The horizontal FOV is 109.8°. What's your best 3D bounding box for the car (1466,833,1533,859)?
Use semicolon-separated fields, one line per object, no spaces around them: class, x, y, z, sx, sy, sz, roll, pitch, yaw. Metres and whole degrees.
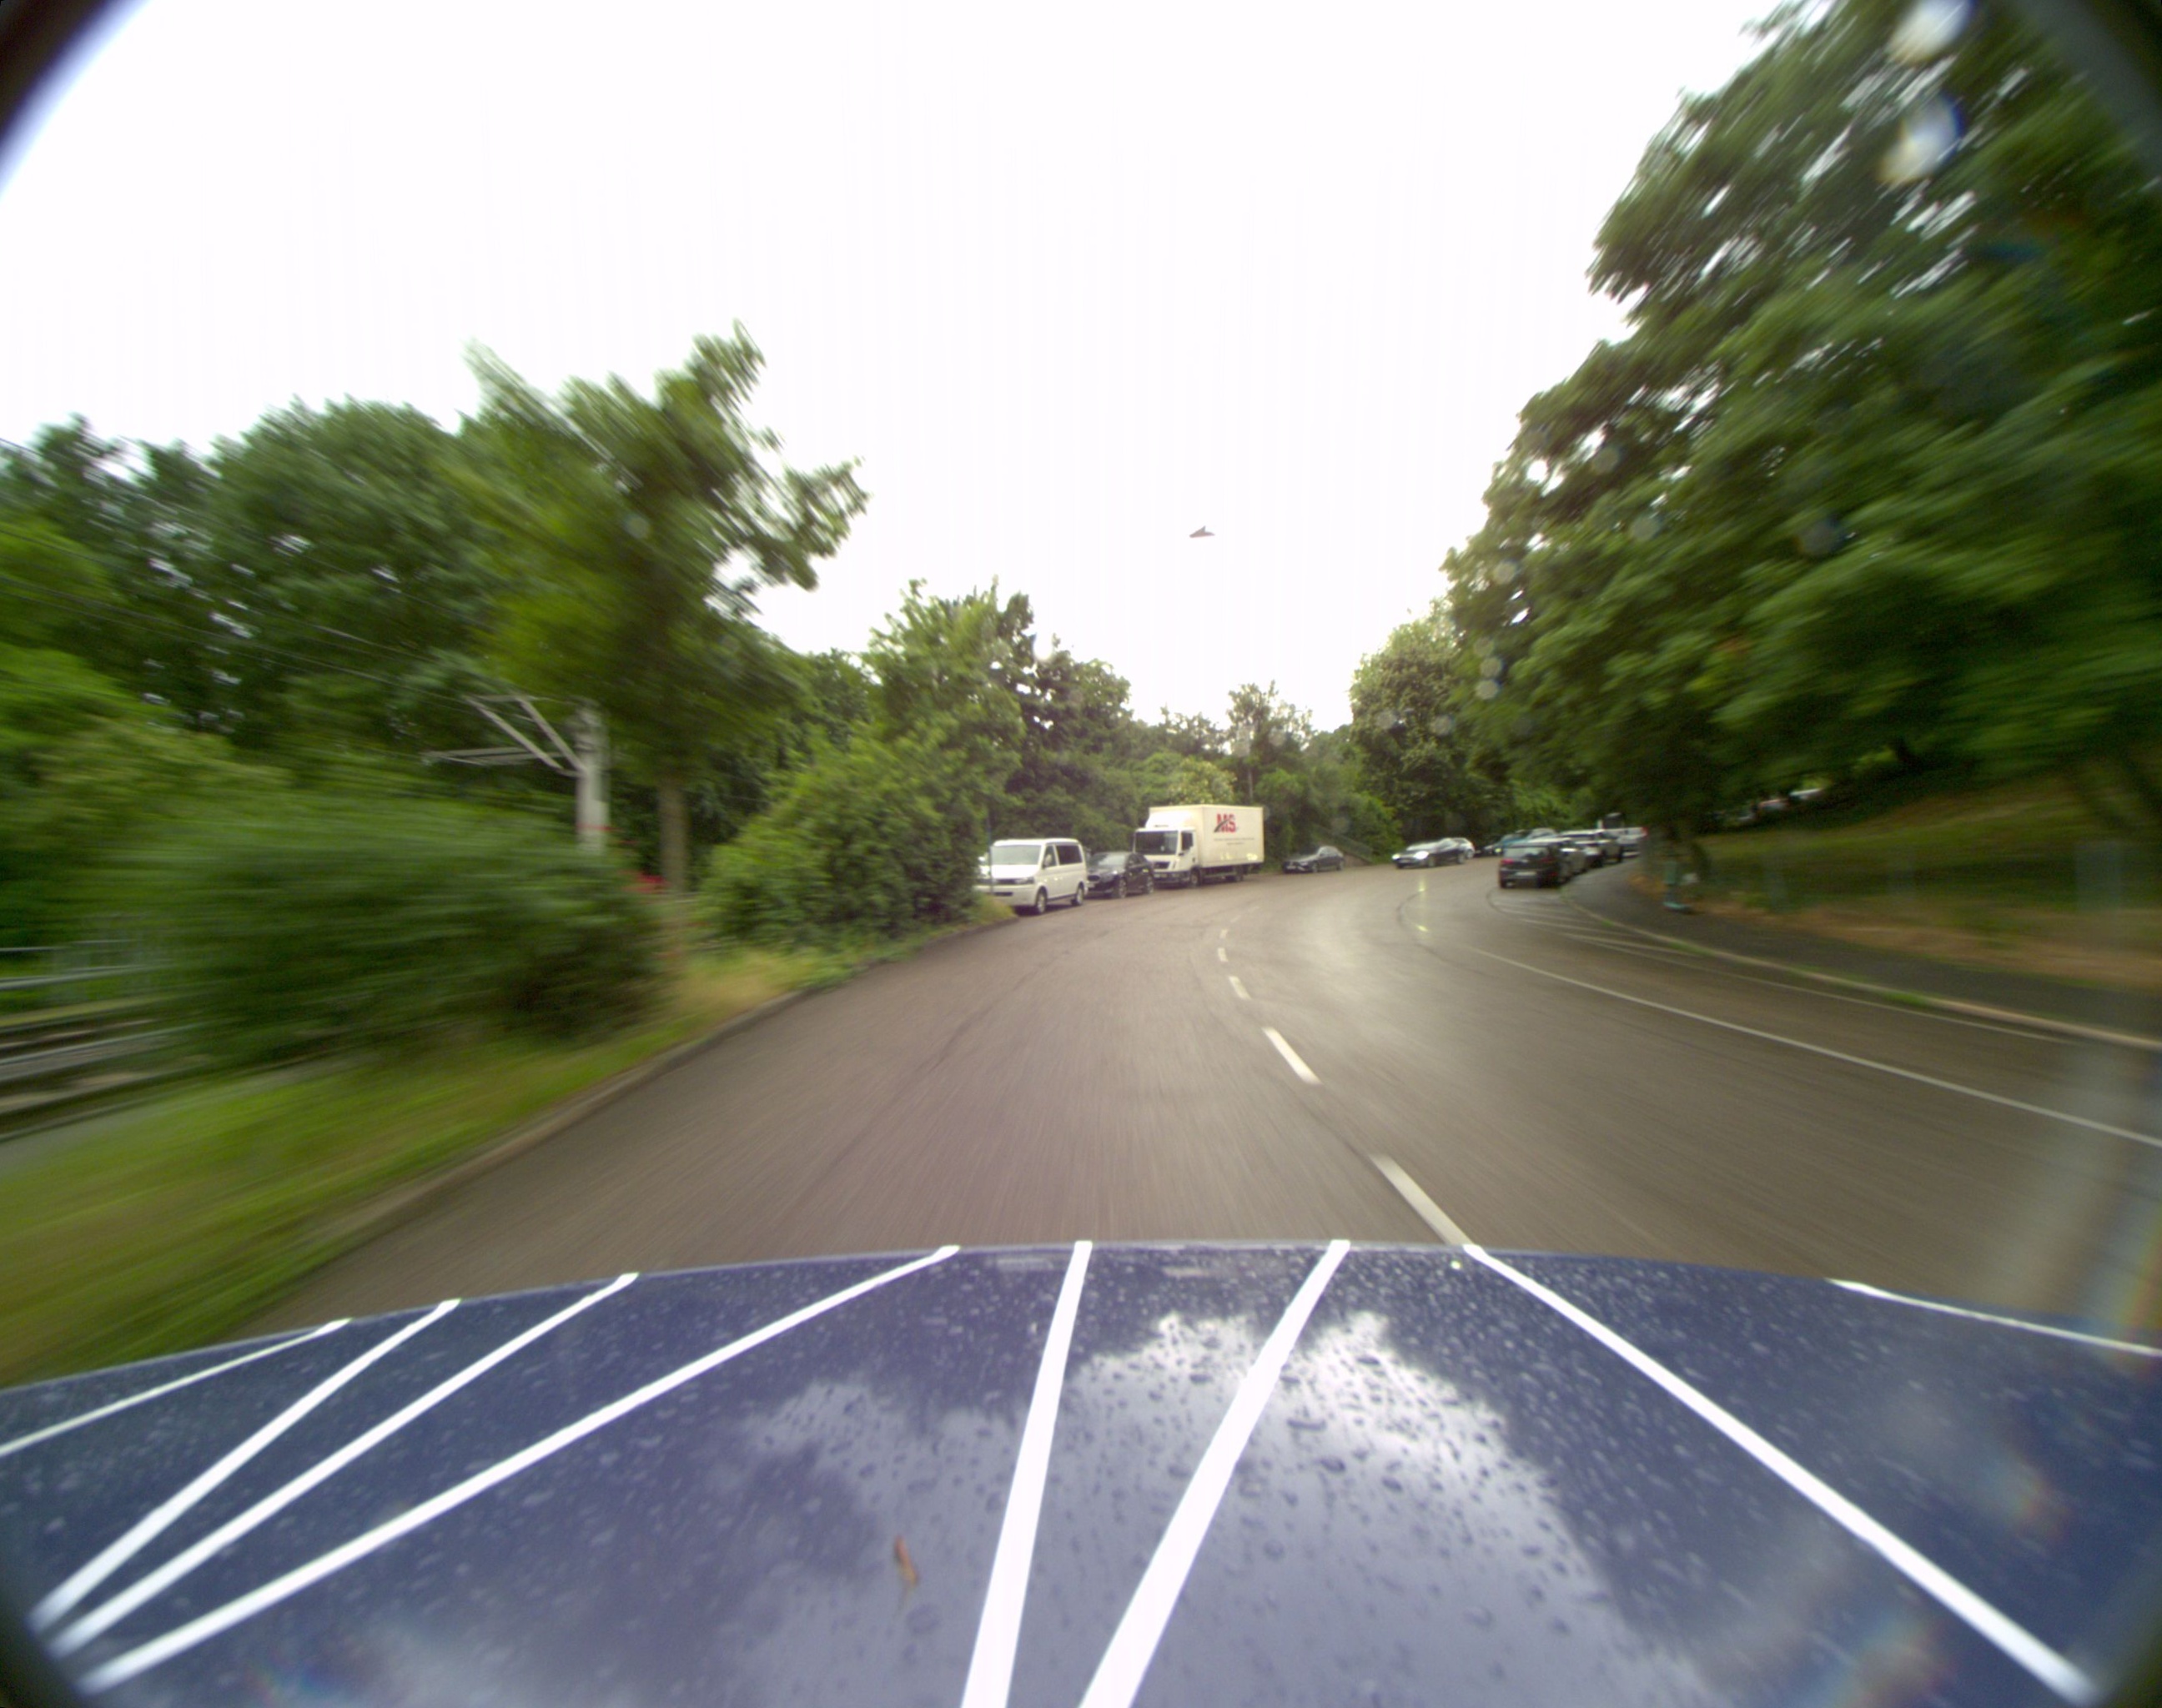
car;28.168;-0.552;51.157;3.972;1.415;1.663;-3;-2;-22

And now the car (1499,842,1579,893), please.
car;15.450;0.407;25.528;1.774;1.434;4.023;-2;1;38

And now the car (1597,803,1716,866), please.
car;27.963;-1.046;36.868;6.353;2.537;2.074;-6;6;-28

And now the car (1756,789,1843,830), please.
car;39.433;-2.451;41.685;4.139;1.757;1.754;-6;-1;-22

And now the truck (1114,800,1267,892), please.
truck;5.071;-0.389;33.433;3.008;3.553;8.352;-1;1;36

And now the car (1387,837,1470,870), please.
car;18.489;-0.059;40.347;4.507;1.530;1.895;-3;0;-35

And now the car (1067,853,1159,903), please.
car;1.236;0.796;26.985;1.719;1.547;4.283;-1;1;25

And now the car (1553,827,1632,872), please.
car;22.184;-0.206;32.924;4.031;1.574;1.805;-6;2;-41

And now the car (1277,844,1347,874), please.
car;12.809;0.271;42.027;4.132;1.435;1.722;-3;0;-41

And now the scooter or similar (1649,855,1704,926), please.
scooter or similar;11.889;0.712;15.213;0.609;1.260;1.440;-7;-1;32

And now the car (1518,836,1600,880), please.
car;18.710;0.127;29.679;4.054;1.448;1.753;-5;2;-44

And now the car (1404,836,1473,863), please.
car;23.140;-0.293;49.164;4.100;1.392;1.758;-4;-2;-26

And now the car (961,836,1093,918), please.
car;-1.324;0.553;21.075;1.878;2.002;4.698;-1;0;20

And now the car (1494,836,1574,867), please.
car;27.957;-0.150;46.891;4.535;1.660;1.996;-3;0;-26
